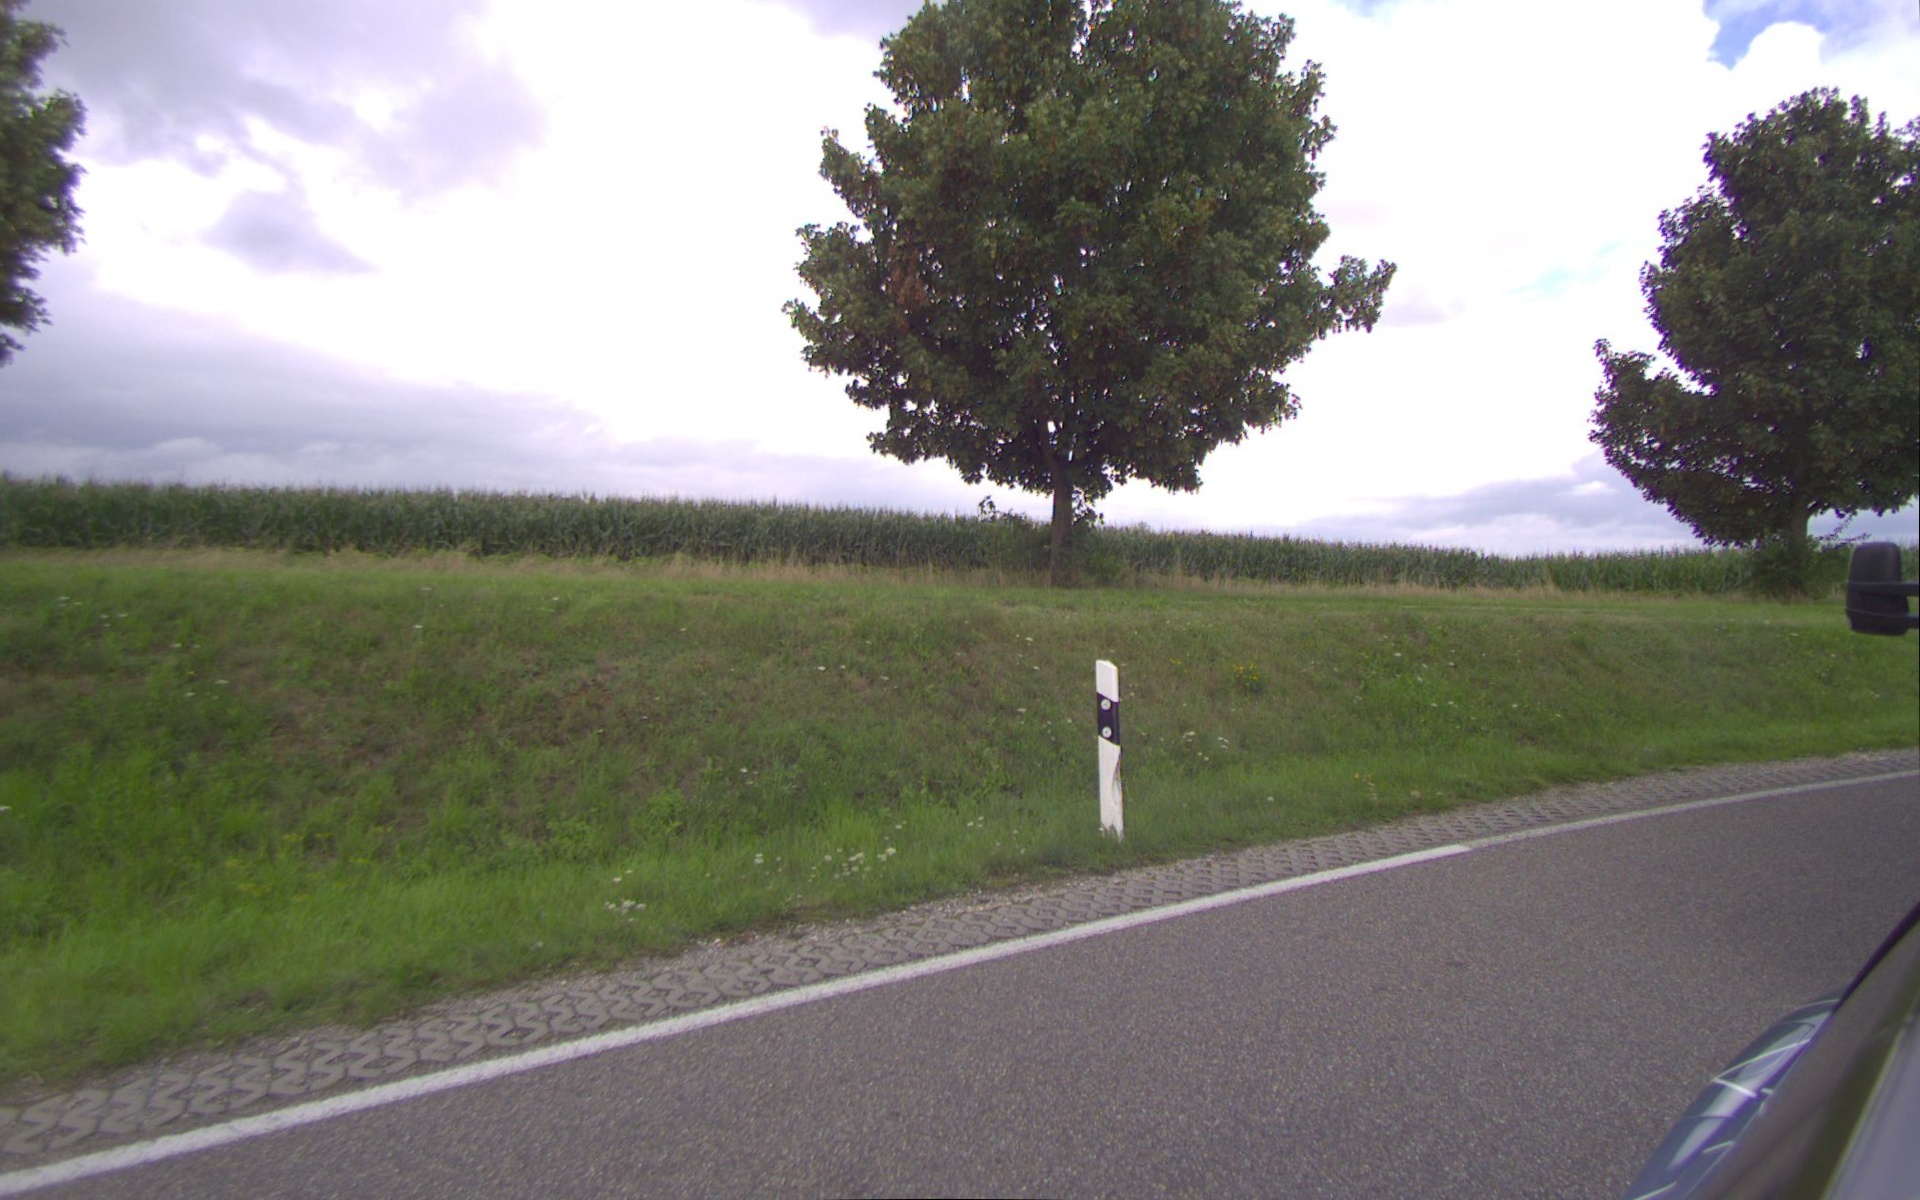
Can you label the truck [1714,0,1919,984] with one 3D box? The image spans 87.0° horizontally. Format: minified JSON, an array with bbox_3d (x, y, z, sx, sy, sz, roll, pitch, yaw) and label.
[{"bbox_3d":[7.197,-0.633,4.584,8.623,3.810,2.843,1,1,-30],"label":"truck"}]
